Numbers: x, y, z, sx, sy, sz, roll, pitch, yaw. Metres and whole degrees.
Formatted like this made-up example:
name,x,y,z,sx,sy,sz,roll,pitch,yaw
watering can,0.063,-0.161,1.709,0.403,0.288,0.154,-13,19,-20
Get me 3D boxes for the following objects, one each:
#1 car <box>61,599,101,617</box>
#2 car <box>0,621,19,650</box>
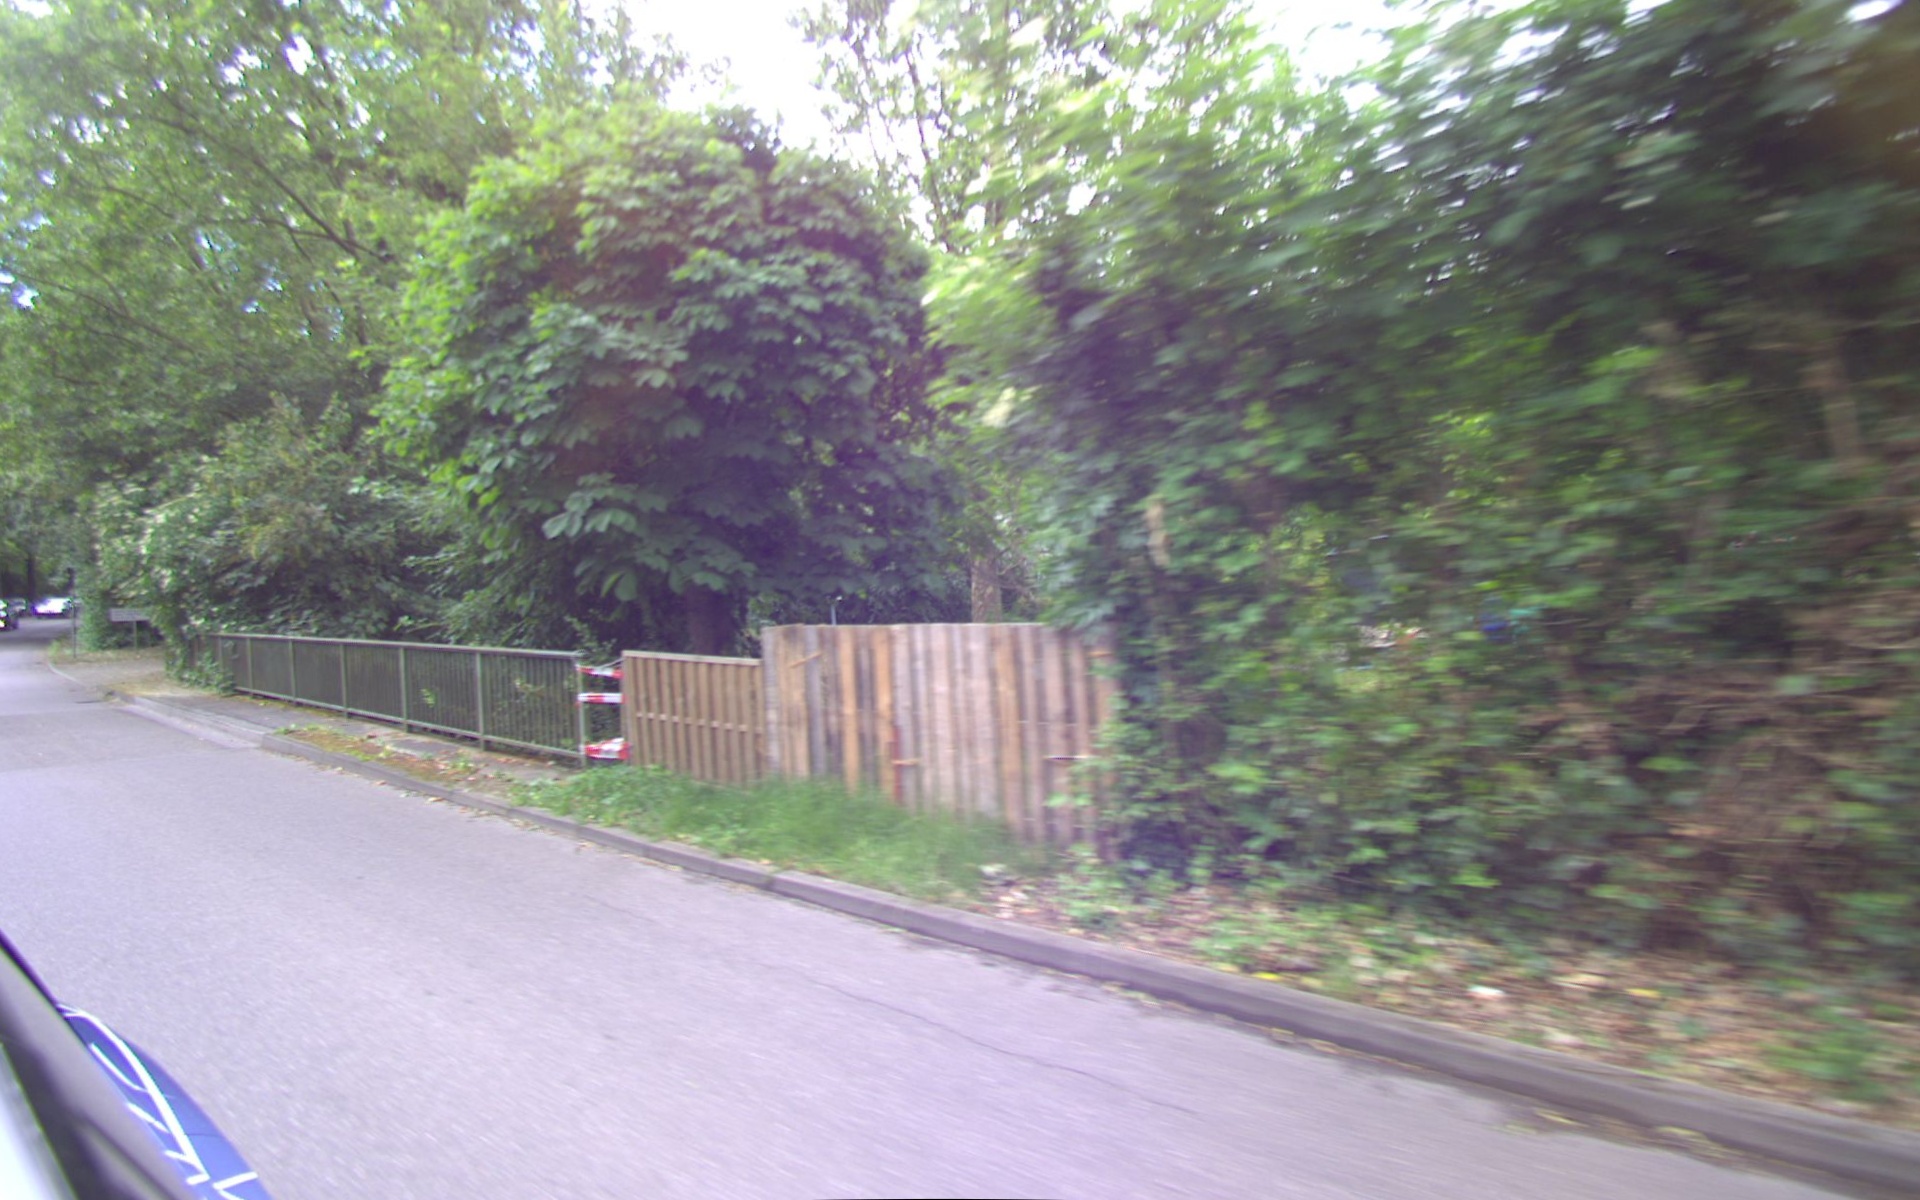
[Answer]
name,x,y,z,sx,sy,sz,roll,pitch,yaw
car,-80.172,0.731,92.350,1.665,1.493,4.120,-2,2,-26
car,-56.879,2.101,59.381,1.739,1.579,4.057,-2,2,-33
